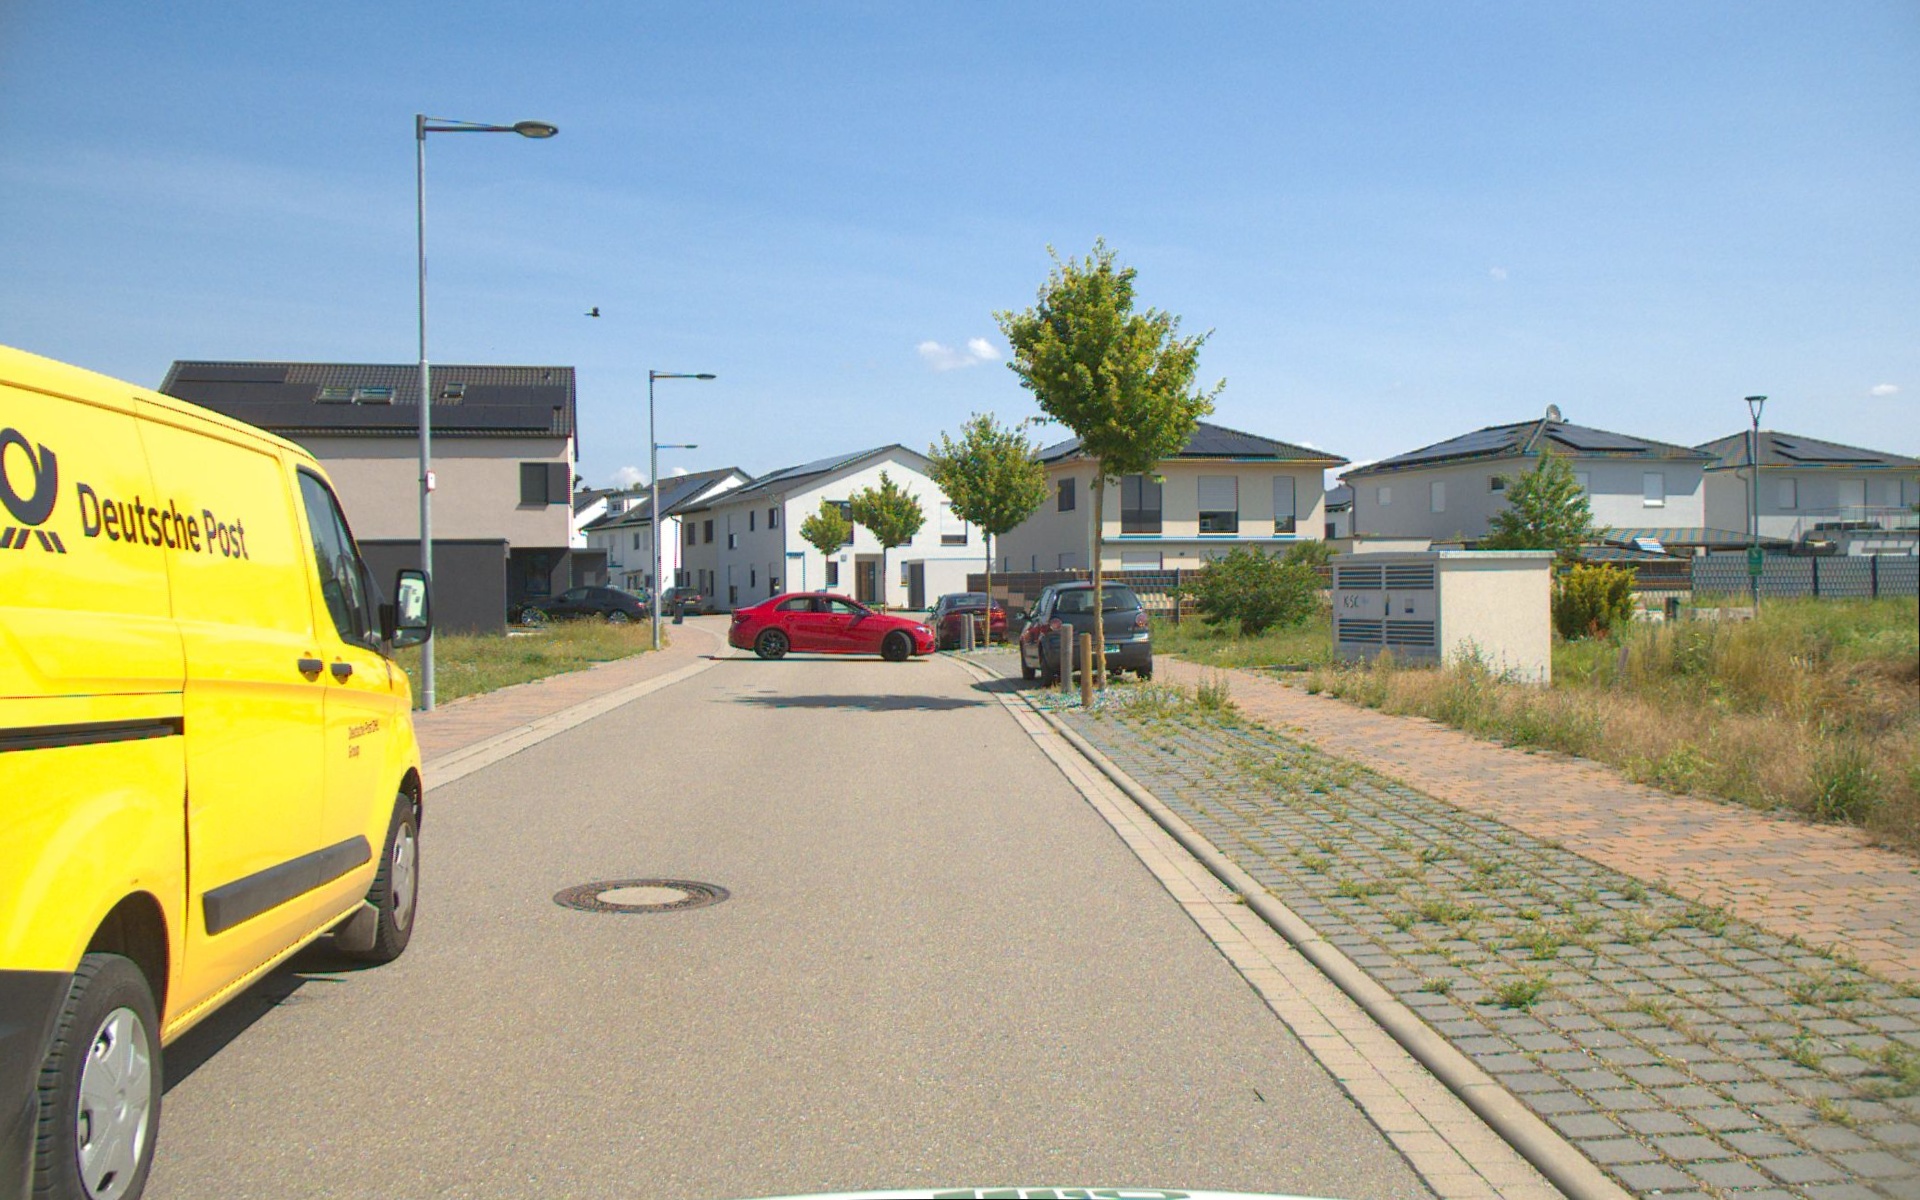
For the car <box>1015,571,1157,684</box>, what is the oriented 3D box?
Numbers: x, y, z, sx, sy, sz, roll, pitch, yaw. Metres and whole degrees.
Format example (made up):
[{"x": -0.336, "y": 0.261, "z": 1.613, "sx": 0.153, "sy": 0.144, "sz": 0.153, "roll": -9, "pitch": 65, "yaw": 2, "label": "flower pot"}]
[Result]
[{"x": 1.816, "y": 0.366, "z": 24.882, "sx": 1.567, "sy": 1.500, "sz": 3.672, "roll": -3, "pitch": 1, "yaw": -4, "label": "car"}]

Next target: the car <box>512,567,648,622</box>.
[{"x": -12.571, "y": -0.184, "z": 54.933, "sx": 4.298, "sy": 1.660, "sz": 1.766, "roll": 2, "pitch": 0, "yaw": -11, "label": "car"}]

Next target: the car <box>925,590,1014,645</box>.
[{"x": 0.204, "y": 0.430, "z": 43.774, "sx": 1.721, "sy": 1.387, "sz": 4.567, "roll": 0, "pitch": 0, "yaw": -8, "label": "car"}]

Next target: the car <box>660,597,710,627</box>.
[{"x": -14.238, "y": 0.600, "z": 85.374, "sx": 1.703, "sy": 1.447, "sz": 3.973, "roll": -2, "pitch": 1, "yaw": -22, "label": "car"}]

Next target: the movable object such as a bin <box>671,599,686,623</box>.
[{"x": -11.141, "y": 0.426, "z": 65.443, "sx": 0.524, "sy": 0.952, "sz": 0.526, "roll": 1, "pitch": 0, "yaw": -2, "label": "movable object such as a bin"}]

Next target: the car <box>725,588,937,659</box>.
[{"x": -2.809, "y": 0.485, "z": 35.487, "sx": 4.421, "sy": 1.463, "sz": 1.765, "roll": 0, "pitch": 0, "yaw": -9, "label": "car"}]

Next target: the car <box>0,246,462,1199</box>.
[{"x": -2.873, "y": 0.373, "z": 4.875, "sx": 1.848, "sy": 2.049, "sz": 4.834, "roll": 0, "pitch": 0, "yaw": -7, "label": "car"}]
